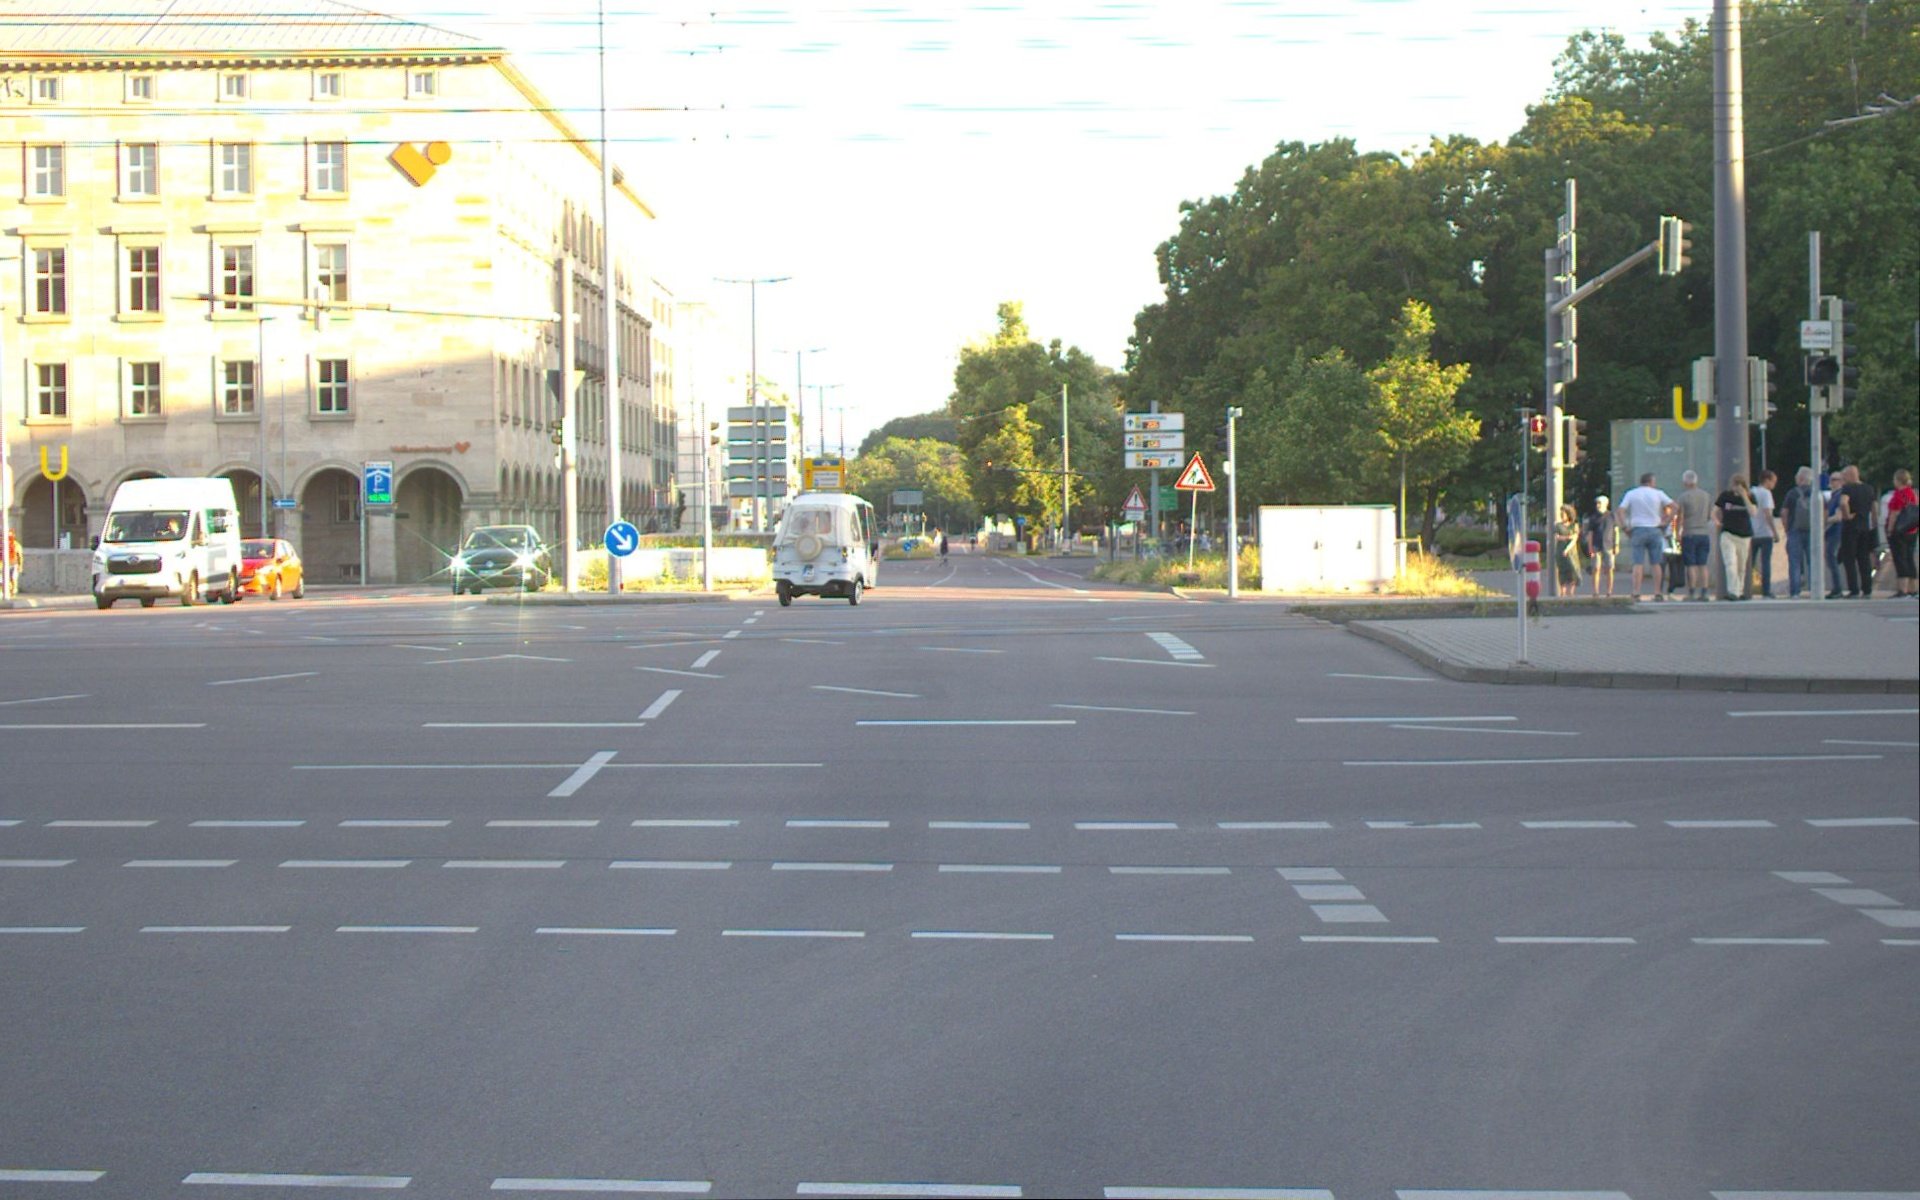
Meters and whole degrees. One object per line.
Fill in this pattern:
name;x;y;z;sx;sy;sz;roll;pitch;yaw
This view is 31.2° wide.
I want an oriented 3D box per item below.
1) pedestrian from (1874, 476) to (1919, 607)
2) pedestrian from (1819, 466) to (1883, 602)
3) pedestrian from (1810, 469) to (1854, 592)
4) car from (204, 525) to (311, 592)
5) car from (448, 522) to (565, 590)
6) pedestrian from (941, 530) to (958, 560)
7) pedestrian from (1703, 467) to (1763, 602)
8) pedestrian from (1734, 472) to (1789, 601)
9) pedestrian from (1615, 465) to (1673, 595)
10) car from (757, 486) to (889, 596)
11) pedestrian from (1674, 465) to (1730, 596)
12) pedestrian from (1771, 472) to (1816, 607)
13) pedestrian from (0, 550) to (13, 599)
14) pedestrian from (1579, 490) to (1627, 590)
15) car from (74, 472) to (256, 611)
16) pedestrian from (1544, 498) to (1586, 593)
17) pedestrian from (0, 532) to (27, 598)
pedestrian;12.672;-0.787;45.960;0.845;1.728;0.705;0;2;12
pedestrian;11.828;-0.882;45.670;0.805;1.785;0.800;0;2;14
pedestrian;11.949;-0.951;47.122;0.572;1.673;0.638;0;2;14
car;-16.567;-0.996;81.178;1.738;1.482;4.001;-1;2;-1
car;-9.546;-0.946;72.632;1.823;1.337;4.000;-1;2;2
pedestrian;-0.603;-3.109;194.660;0.906;1.665;1.307;-1;2;-1
pedestrian;9.932;-0.843;44.170;0.711;1.719;0.914;0;2;15
pedestrian;10.852;-0.863;46.545;0.711;1.719;0.914;0;2;13
pedestrian;9.118;-0.936;45.832;0.711;1.719;0.668;0;2;14
car;-2.172;-0.958;55.099;1.484;1.690;2.973;-1;1;10
pedestrian;9.875;-0.925;45.741;0.711;1.719;0.668;0;2;13
pedestrian;11.078;-0.804;45.669;0.572;1.785;0.638;0;2;14
pedestrian;-24.991;-0.666;89.754;0.420;1.296;0.460;1;0;-5
pedestrian;11.333;-1.062;60.604;0.680;1.751;0.901;0;2;20
car;-16.683;-1.258;72.479;2.279;2.766;6.084;-1;1;1
pedestrian;10.681;-0.968;60.705;0.560;1.649;0.901;0;2;20
pedestrian;-25.045;-0.931;90.925;0.621;1.738;0.460;1;0;-5
